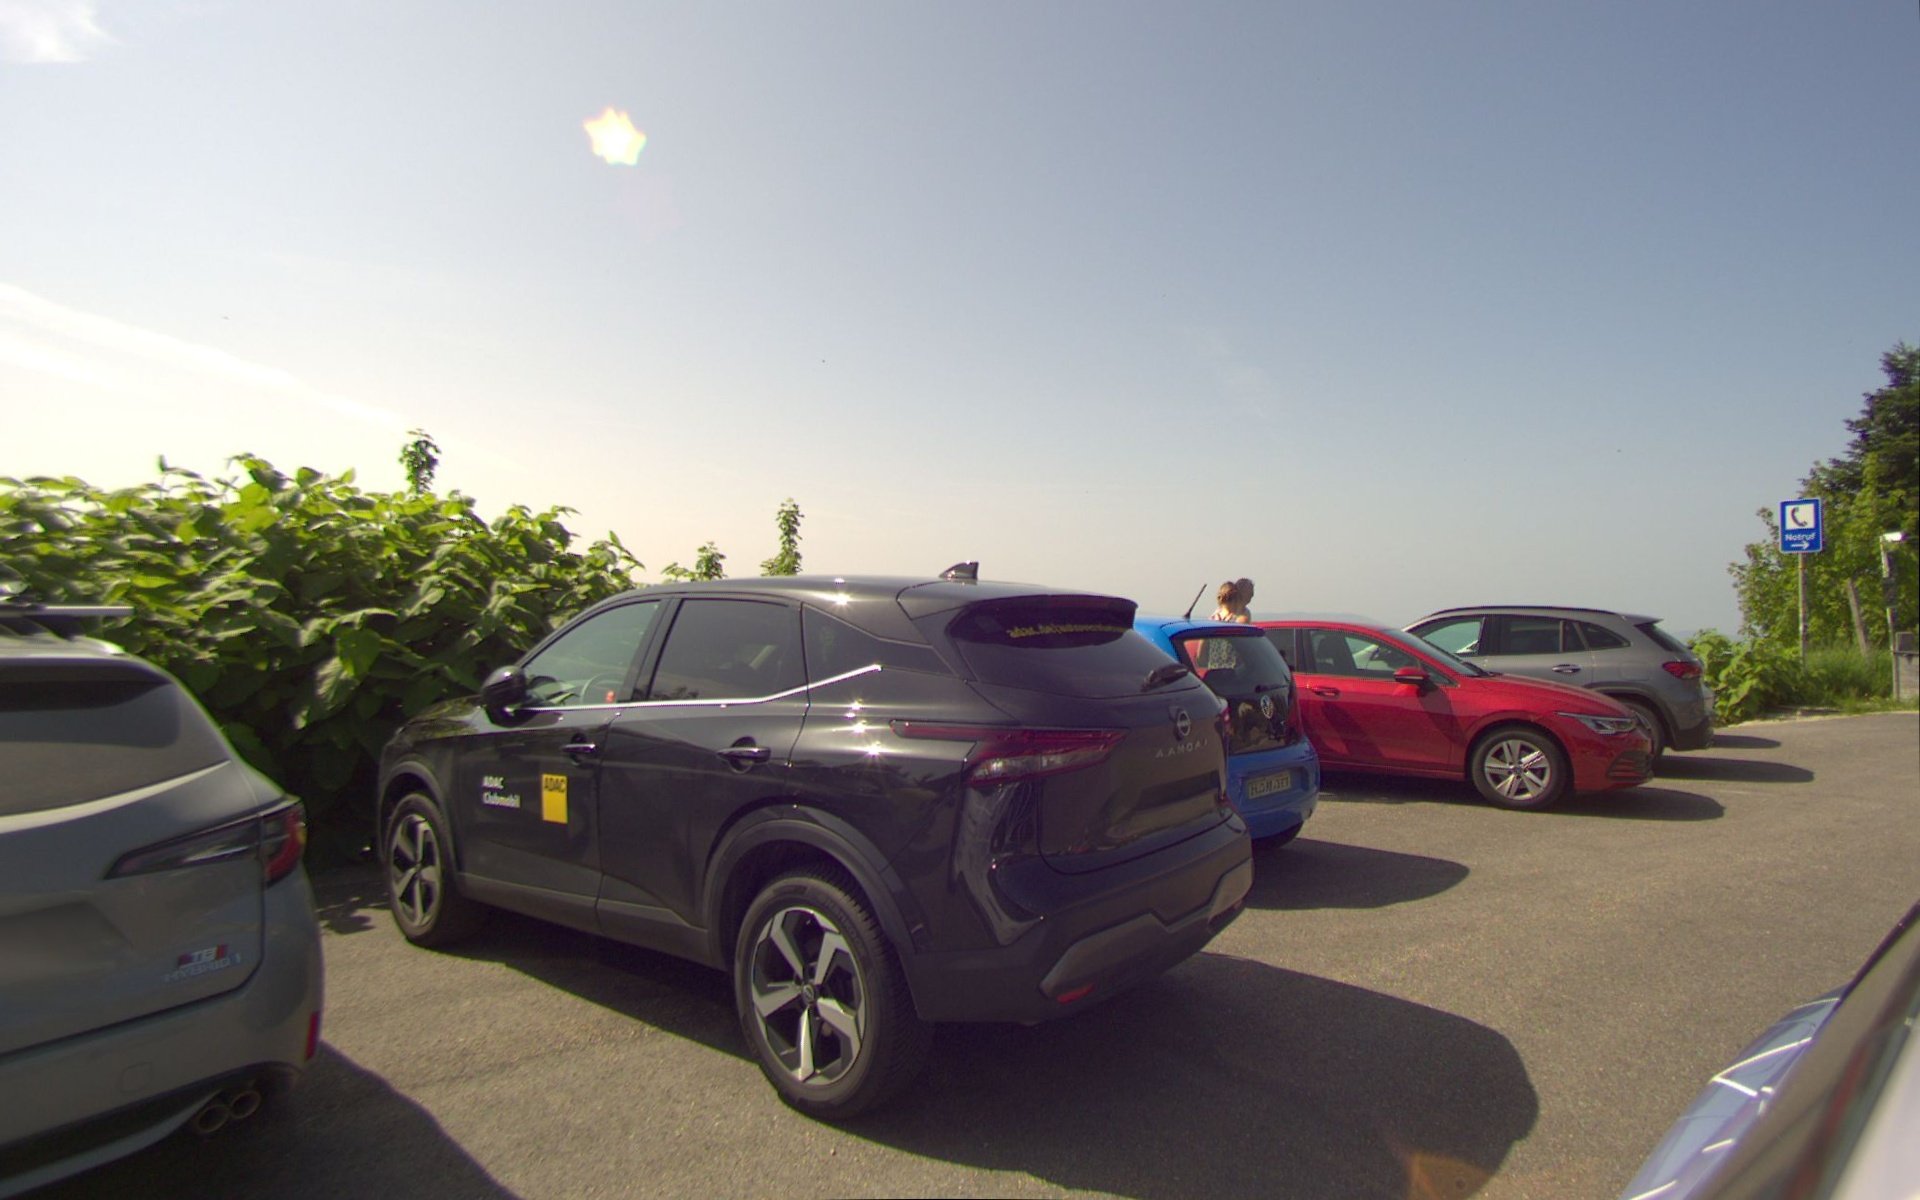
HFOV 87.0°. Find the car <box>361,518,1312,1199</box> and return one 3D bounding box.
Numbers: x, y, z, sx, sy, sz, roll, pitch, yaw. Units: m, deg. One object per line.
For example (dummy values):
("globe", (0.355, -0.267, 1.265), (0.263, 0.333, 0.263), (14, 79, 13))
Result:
("car", (-0.789, 0.665, 4.396), (3.979, 1.634, 1.889), (-1, -1, 39))

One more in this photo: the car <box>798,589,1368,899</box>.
("car", (0.624, 0.782, 6.821), (1.621, 1.515, 3.581), (2, -3, -45))

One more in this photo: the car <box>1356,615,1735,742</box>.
("car", (7.383, 0.936, 13.035), (3.972, 1.403, 1.636), (-2, -2, 35))

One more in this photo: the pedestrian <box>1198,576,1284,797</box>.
("pedestrian", (2.336, 0.693, 8.403), (0.501, 1.747, 0.561), (-3, -2, 31))

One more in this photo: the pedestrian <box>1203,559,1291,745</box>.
("pedestrian", (3.093, 0.544, 10.903), (0.608, 1.924, 0.668), (-3, -2, 43))

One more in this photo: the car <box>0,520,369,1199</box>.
("car", (-3.572, 0.685, 3.244), (4.146, 1.609, 1.679), (-2, -2, 41))

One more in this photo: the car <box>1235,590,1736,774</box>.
("car", (5.401, 0.784, 10.812), (4.379, 1.589, 1.884), (-2, -2, 34))

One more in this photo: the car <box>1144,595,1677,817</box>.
("car", (3.819, 0.768, 8.884), (3.973, 1.529, 1.819), (-1, -2, 35))
